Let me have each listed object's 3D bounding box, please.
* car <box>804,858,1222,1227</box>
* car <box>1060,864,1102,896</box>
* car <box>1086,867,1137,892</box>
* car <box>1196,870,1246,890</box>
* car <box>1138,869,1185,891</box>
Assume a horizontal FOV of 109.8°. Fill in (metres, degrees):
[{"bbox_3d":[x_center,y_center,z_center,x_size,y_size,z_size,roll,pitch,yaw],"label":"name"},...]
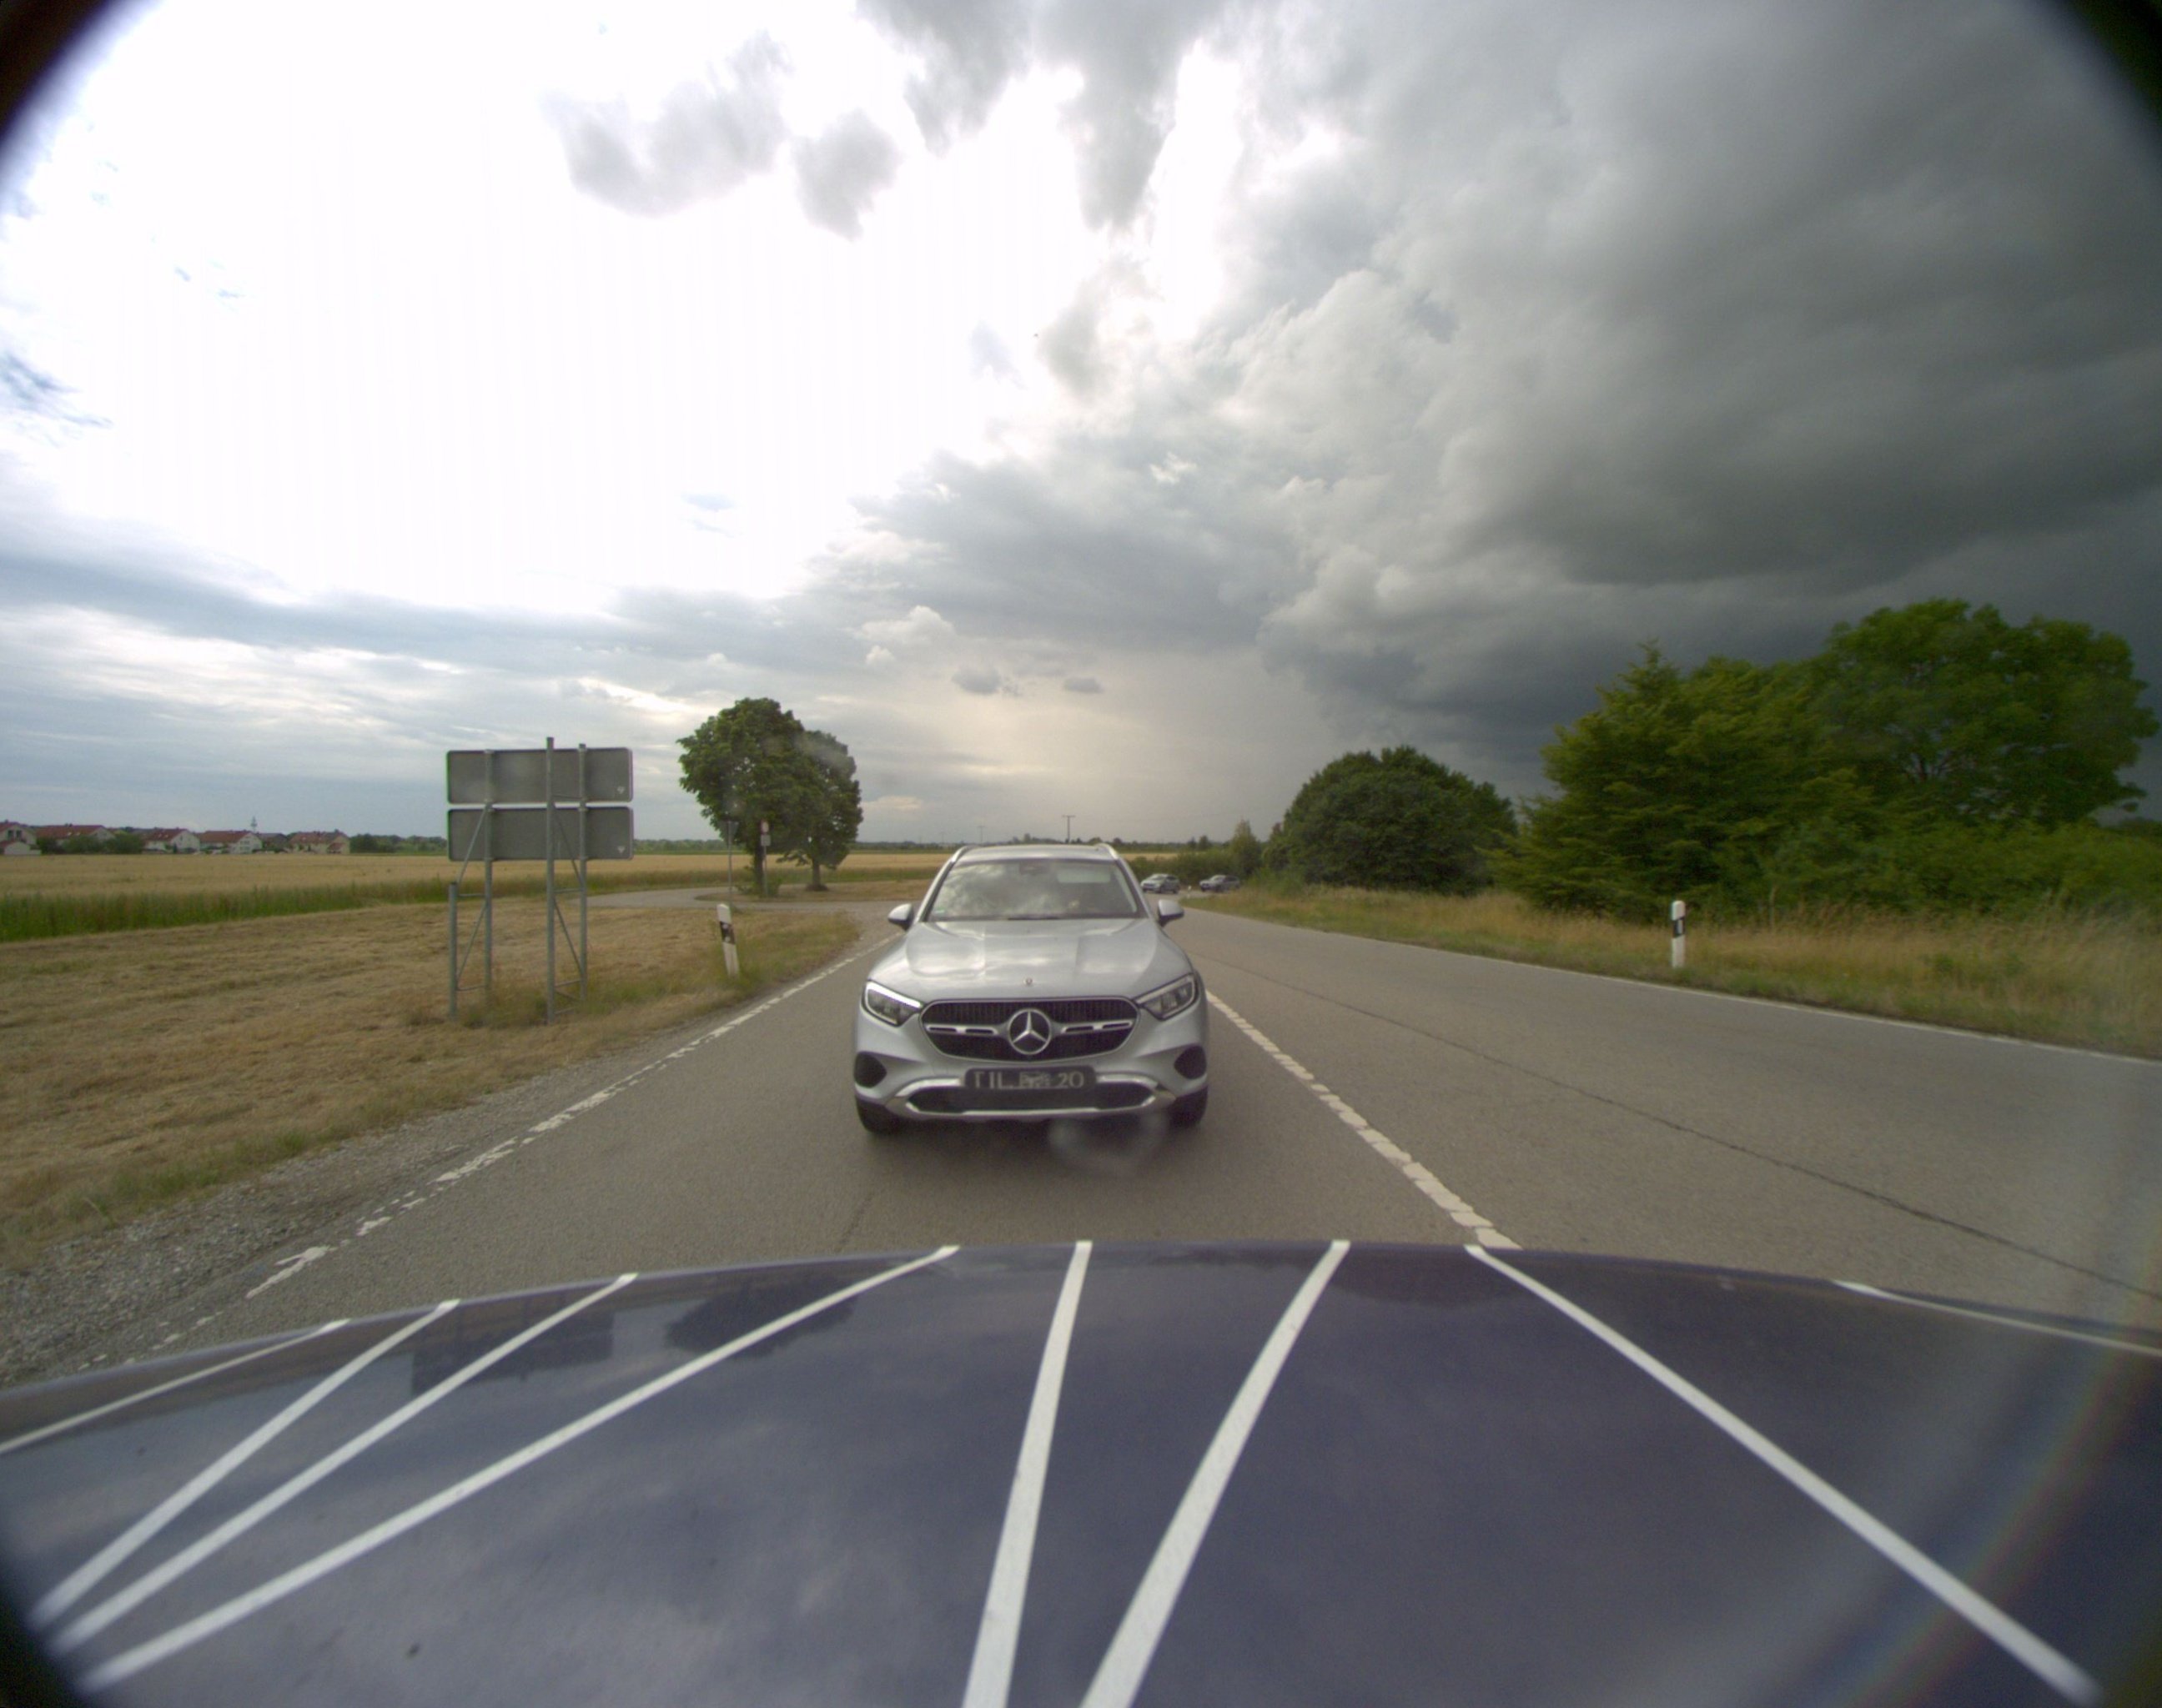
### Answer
[{"bbox_3d":[-0.366,0.852,5.635,1.837,1.577,4.449,-1,0,-2],"label":"car"},{"bbox_3d":[0.056,1.545,46.398,1.998,1.709,5.211,3,0,5],"label":"car"},{"bbox_3d":[2.301,1.877,56.224,1.995,1.709,5.218,3,0,23],"label":"car"},{"bbox_3d":[13.562,2.485,73.336,5.220,1.710,1.994,0,2,-43],"label":"car"},{"bbox_3d":[6.947,2.217,64.818,1.994,1.709,5.220,3,0,30],"label":"car"}]
